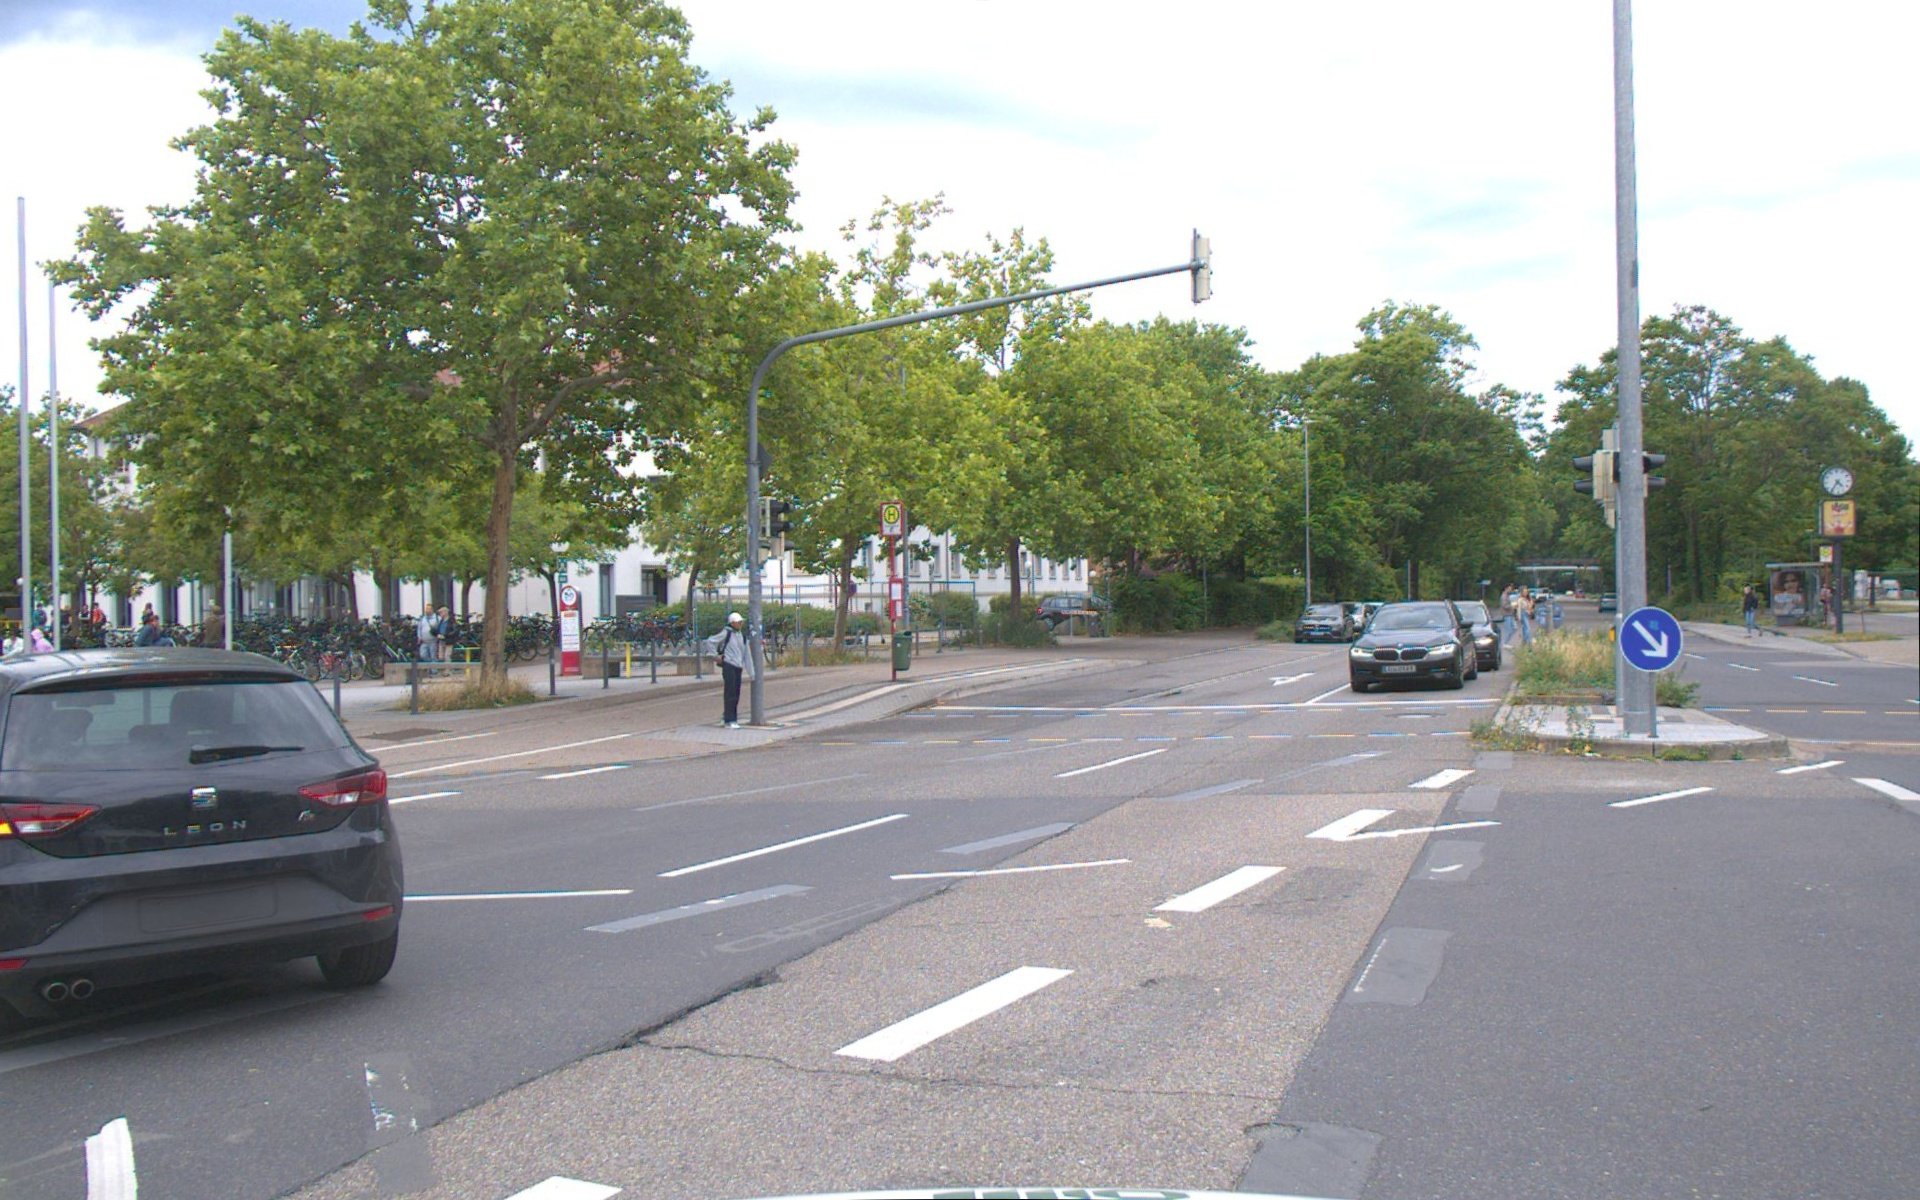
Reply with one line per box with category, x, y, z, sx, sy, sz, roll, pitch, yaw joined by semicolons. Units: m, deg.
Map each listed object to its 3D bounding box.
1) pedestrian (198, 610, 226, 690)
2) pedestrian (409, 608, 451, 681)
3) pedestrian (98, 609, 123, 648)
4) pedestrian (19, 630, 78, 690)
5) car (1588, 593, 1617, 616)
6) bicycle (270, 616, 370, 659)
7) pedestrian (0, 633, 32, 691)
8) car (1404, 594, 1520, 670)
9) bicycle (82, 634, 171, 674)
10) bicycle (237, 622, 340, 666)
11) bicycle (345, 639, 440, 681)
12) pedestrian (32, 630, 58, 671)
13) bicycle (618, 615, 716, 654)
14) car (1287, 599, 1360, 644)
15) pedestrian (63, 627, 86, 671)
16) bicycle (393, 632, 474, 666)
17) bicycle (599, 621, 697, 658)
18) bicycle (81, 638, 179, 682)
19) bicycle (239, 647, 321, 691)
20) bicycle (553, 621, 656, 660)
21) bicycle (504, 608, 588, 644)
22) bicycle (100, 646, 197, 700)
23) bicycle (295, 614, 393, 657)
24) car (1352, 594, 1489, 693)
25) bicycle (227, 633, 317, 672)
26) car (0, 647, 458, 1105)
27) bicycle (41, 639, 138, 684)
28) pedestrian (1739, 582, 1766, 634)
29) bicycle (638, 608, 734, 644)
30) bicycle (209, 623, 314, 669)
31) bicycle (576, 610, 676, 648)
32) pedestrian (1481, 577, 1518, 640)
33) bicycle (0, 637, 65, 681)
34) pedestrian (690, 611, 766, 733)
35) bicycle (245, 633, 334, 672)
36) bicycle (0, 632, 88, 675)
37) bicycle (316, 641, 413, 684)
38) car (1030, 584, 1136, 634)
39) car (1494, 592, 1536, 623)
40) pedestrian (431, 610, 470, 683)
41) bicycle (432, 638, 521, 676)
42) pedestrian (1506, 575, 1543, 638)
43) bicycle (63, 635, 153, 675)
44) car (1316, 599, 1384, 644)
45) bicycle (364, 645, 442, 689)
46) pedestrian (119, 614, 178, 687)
pedestrian;-17.779;1.183;39.294;0.504;1.865;0.667;-2;0;-30
pedestrian;-13.162;1.099;41.062;0.663;1.745;0.673;-2;0;26
pedestrian;-36.706;1.237;71.440;0.650;1.669;0.663;-2;0;18
pedestrian;-23.059;1.511;41.833;0.945;1.445;0.853;-2;0;9
car;48.030;0.349;123.607;1.773;1.646;4.002;-2;0;18
bicycle;-18.684;1.102;48.261;3.034;1.190;0.748;-2;0;22
pedestrian;-24.056;1.574;41.873;0.753;1.438;0.671;-2;0;-11
car;10.773;0.641;35.309;1.953;1.478;3.999;-2;0;23
bicycle;-26.914;1.746;53.391;3.034;1.190;0.748;1;0;22
bicycle;-19.155;1.256;47.166;3.034;1.190;0.748;-2;0;22
bicycle;-17.645;1.854;51.431;3.034;1.190;0.748;1;0;22
pedestrian;-38.370;2.121;69.386;0.650;1.670;0.663;-1;-1;18
bicycle;-10.184;1.197;57.435;3.316;1.190;1.055;-3;-1;26
car;13.534;0.773;61.400;1.953;1.538;3.999;-2;0;23
pedestrian;-34.329;1.900;64.122;0.652;1.669;0.661;-2;0;-24
bicycle;-19.523;1.805;61.287;3.034;1.190;0.748;1;0;21
bicycle;-10.643;1.335;56.426;3.316;1.190;1.054;1;0;26
bicycle;-24.586;1.767;48.973;3.034;1.190;0.748;1;0;22
bicycle;-17.075;1.732;41.560;1.888;1.067;0.457;-1;1;6
bicycle;-11.618;1.308;53.991;3.316;1.190;1.054;1;0;26
bicycle;-14.854;0.923;59.296;3.034;1.190;0.748;1;0;22
bicycle;-19.330;1.731;39.385;2.355;1.190;0.457;1;-1;16
bicycle;-18.346;1.048;49.237;3.034;1.190;0.748;1;0;22
car;8.098;0.703;28.817;1.952;1.515;4.293;-2;0;20
bicycle;-22.631;1.722;54.362;3.034;1.190;0.748;1;0;21
car;-3.883;0.965;7.465;1.770;1.444;4.073;-1;-1;-38
bicycle;-25.052;1.753;47.585;3.034;1.190;0.622;1;0;22
pedestrian;28.024;0.284;58.490;0.790;1.841;0.588;-2;0;24
bicycle;-9.699;0.933;58.457;3.316;1.190;1.055;-2;0;26
bicycle;-19.453;1.258;46.033;3.034;1.190;0.748;1;0;22
bicycle;-11.164;0.968;55.264;3.316;1.190;1.055;-2;0;26
pedestrian;15.791;0.253;48.405;0.699;1.819;0.894;-1;0;-4
bicycle;-28.097;1.741;49.292;3.034;1.190;0.748;1;0;22
pedestrian;-3.308;1.003;23.597;0.777;1.655;0.756;2;2;33
bicycle;-22.338;1.730;55.085;3.034;1.190;0.748;1;0;21
bicycle;-27.805;1.602;50.028;3.034;1.190;0.748;1;0;22
bicycle;-18.143;1.884;50.370;3.034;1.190;0.748;1;0;22
car;4.739;0.335;64.040;3.968;1.783;2.001;-2;0;3
car;31.168;0.419;92.828;1.953;1.646;4.193;-2;0;23
pedestrian;-12.554;1.146;40.791;0.642;1.745;0.585;-2;0;24
bicycle;-16.237;1.895;55.494;3.034;1.190;0.748;1;0;22
pedestrian;16.557;0.185;48.551;0.699;1.819;0.894;-1;0;-4
bicycle;-27.094;1.739;52.590;3.034;1.190;0.748;1;0;22
car;15.537;0.839;65.752;1.953;1.646;3.999;-2;0;23
bicycle;-13.953;1.676;41.415;1.888;1.067;0.457;-1;1;16
pedestrian;-19.790;1.217;40.348;0.945;1.734;0.852;-2;0;18
